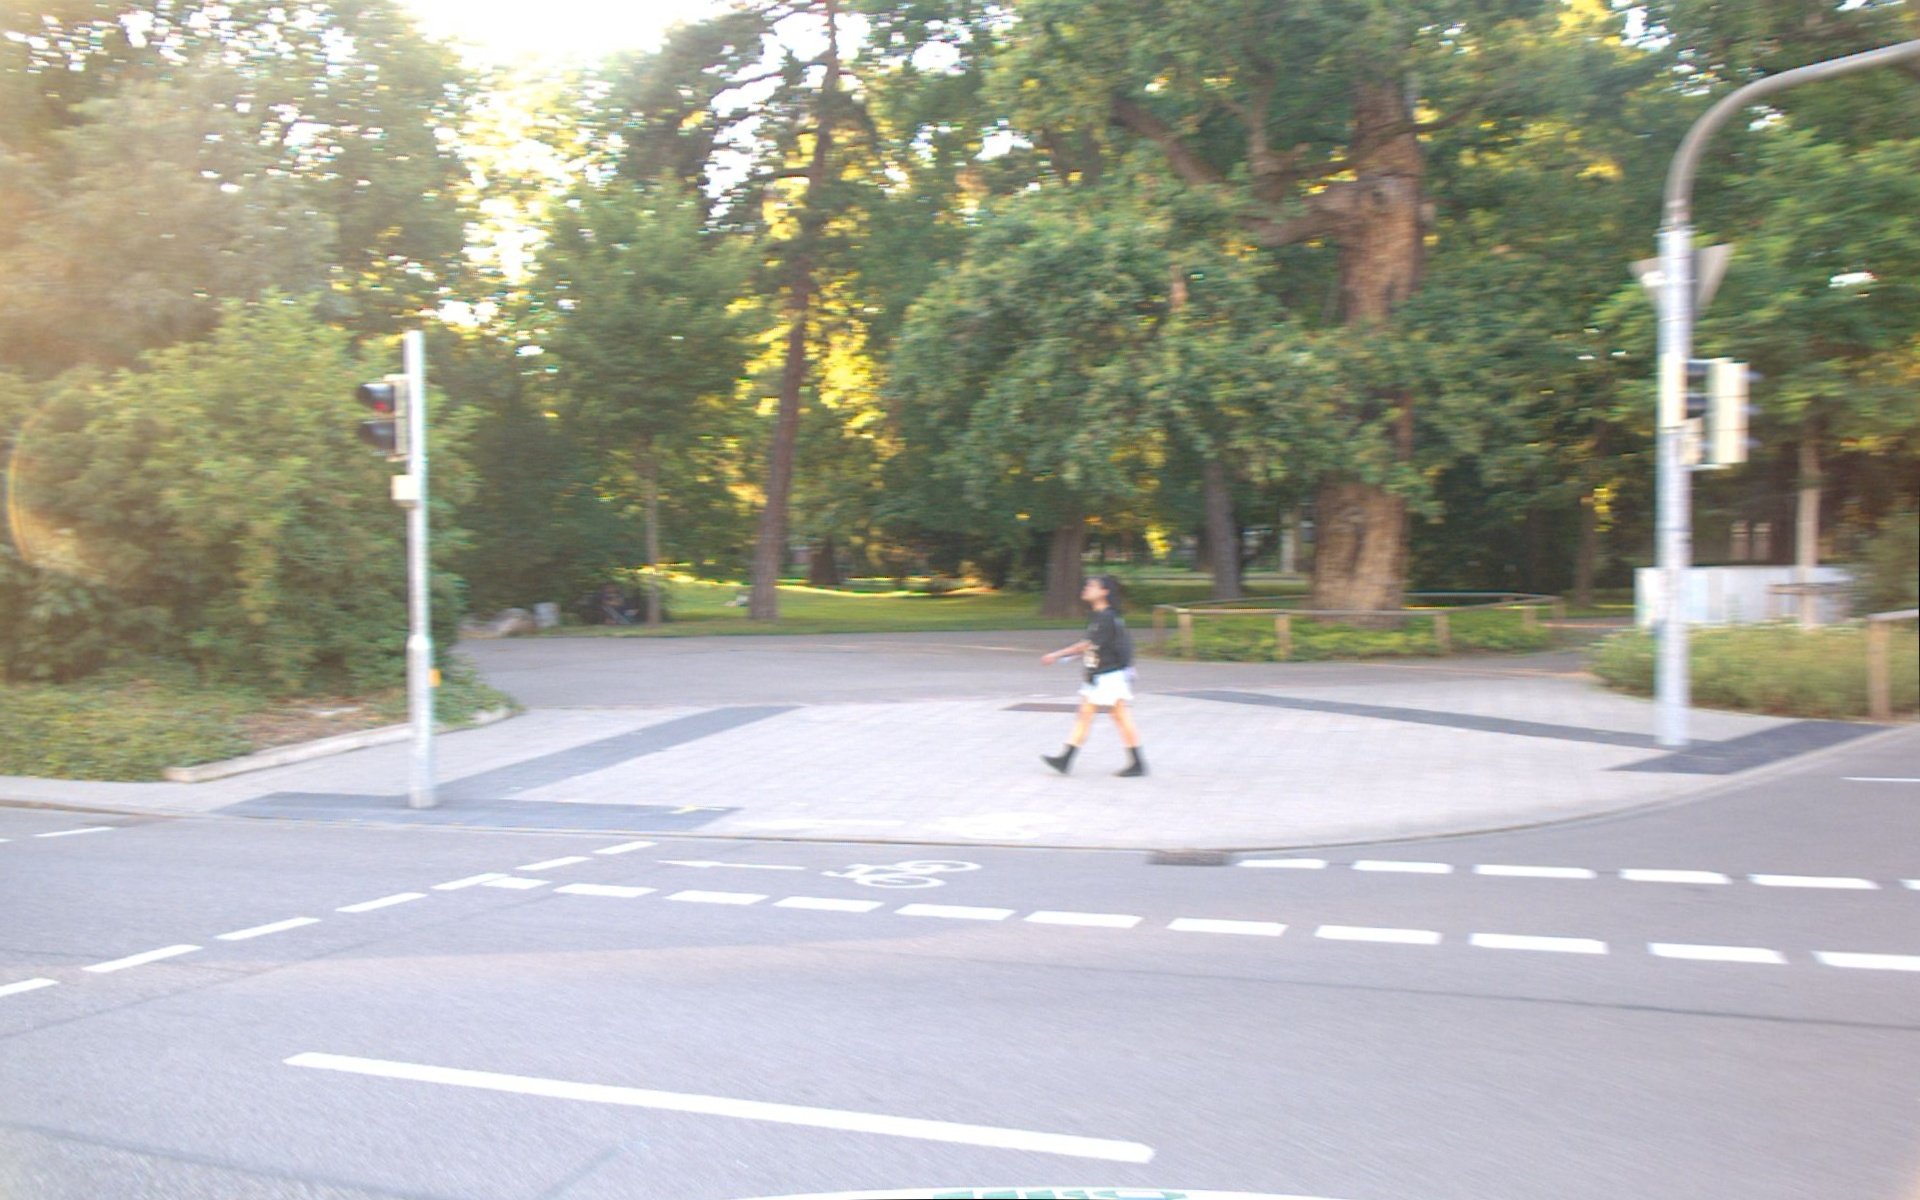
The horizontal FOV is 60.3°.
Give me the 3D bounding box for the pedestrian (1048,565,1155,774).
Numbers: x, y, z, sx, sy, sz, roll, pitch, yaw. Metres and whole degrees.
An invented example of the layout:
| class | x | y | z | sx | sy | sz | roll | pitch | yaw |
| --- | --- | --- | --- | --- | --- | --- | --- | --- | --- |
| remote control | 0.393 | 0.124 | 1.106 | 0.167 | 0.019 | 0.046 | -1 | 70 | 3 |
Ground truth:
| class | x | y | z | sx | sy | sz | roll | pitch | yaw |
| --- | --- | --- | --- | --- | --- | --- | --- | --- | --- |
| pedestrian | 1.090 | 0.517 | 12.706 | 0.605 | 1.529 | 0.580 | 0 | 4 | 27 |
